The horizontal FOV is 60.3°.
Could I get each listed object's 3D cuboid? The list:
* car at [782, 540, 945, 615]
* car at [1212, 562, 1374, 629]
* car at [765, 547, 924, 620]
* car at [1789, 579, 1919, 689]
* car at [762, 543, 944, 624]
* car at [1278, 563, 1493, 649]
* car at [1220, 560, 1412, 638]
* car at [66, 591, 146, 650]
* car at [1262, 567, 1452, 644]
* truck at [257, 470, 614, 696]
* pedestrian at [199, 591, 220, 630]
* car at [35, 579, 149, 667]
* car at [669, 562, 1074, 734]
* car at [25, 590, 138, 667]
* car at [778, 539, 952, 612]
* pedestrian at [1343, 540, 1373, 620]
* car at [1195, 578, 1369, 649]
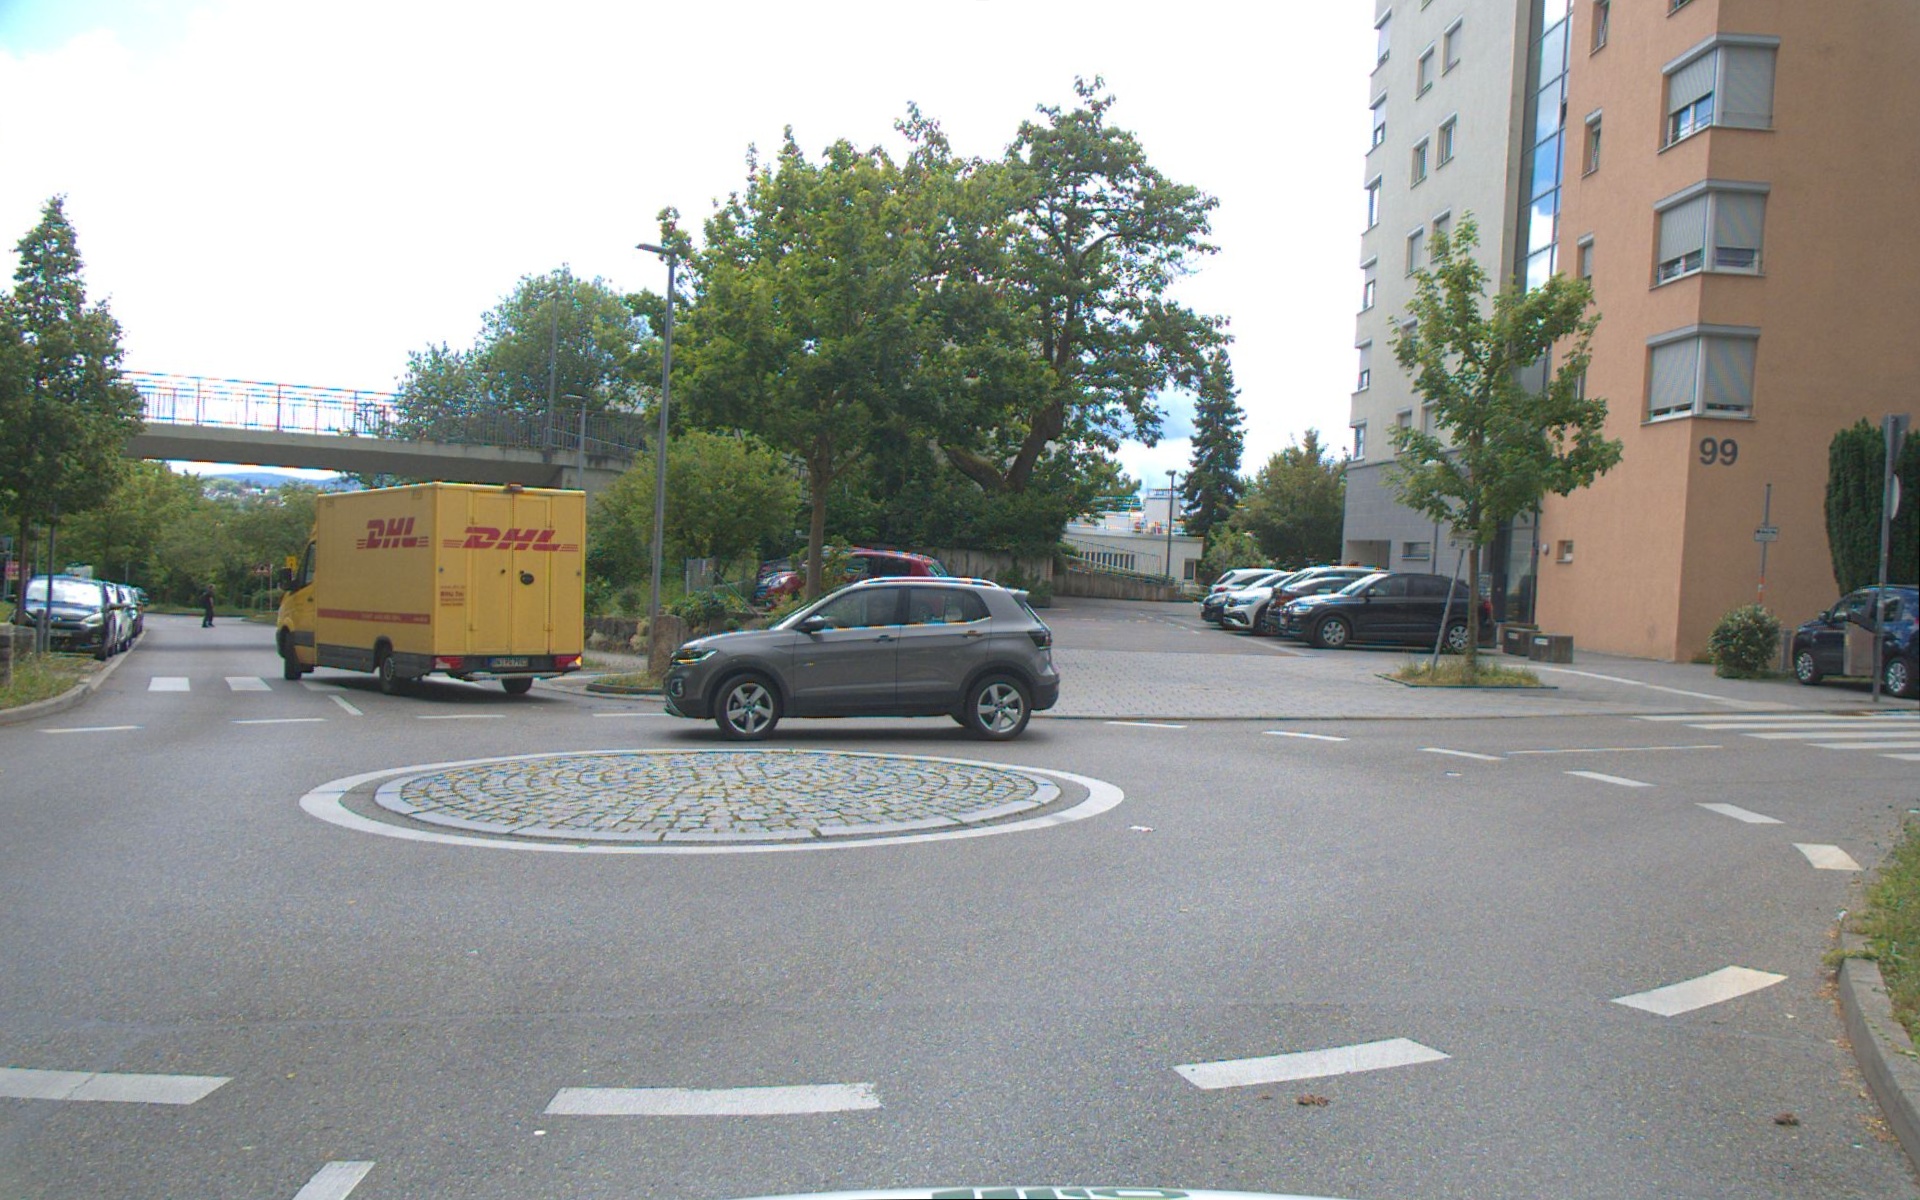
[{"bbox_3d":[-2.417,-0.541,41.159,3.910,1.642,1.942,2,0,-6],"label":"car"},{"bbox_3d":[8.711,-0.115,43.480,3.898,1.544,1.758,2,0,3],"label":"car"},{"bbox_3d":[-2.691,-0.376,38.763,3.577,1.524,1.683,2,0,-3],"label":"car"},{"bbox_3d":[13.817,0.449,24.265,1.469,1.502,3.525,0,0,-2],"label":"car"},{"bbox_3d":[-2.167,-0.330,33.831,3.577,1.464,1.683,2,0,-3],"label":"car"},{"bbox_3d":[8.683,0.121,33.996,3.957,1.544,1.756,2,0,2],"label":"car"},{"bbox_3d":[8.286,-0.023,38.700,4.039,1.621,1.691,2,0,-5],"label":"car"},{"bbox_3d":[-24.044,0.550,46.517,1.863,1.535,4.410,3,-1,-29],"label":"car"},{"bbox_3d":[8.667,0.118,36.305,3.748,1.484,1.693,2,0,2],"label":"car"},{"bbox_3d":[-7.638,-0.195,23.489,2.451,2.749,6.726,2,-1,-39],"label":"truck"},{"bbox_3d":[-31.179,0.440,68.723,0.709,1.568,0.550,2,0,-27],"label":"pedestrian"},{"bbox_3d":[-16.472,0.401,31.444,1.765,1.493,3.964,2,0,-28],"label":"car"},{"bbox_3d":[-0.928,0.479,16.918,3.920,1.646,1.720,0,0,-7],"label":"car"},{"bbox_3d":[-19.003,0.596,35.894,1.860,1.485,3.520,2,0,-24],"label":"car"},{"bbox_3d":[-2.542,-0.632,43.936,4.456,1.697,1.942,2,0,-6],"label":"car"},{"bbox_3d":[9.603,-0.486,39.895,0.469,1.885,0.506,2,0,-11],"label":"pedestrian"},{"bbox_3d":[7.939,0.321,41.041,3.957,1.544,1.756,2,0,2],"label":"car"}]
